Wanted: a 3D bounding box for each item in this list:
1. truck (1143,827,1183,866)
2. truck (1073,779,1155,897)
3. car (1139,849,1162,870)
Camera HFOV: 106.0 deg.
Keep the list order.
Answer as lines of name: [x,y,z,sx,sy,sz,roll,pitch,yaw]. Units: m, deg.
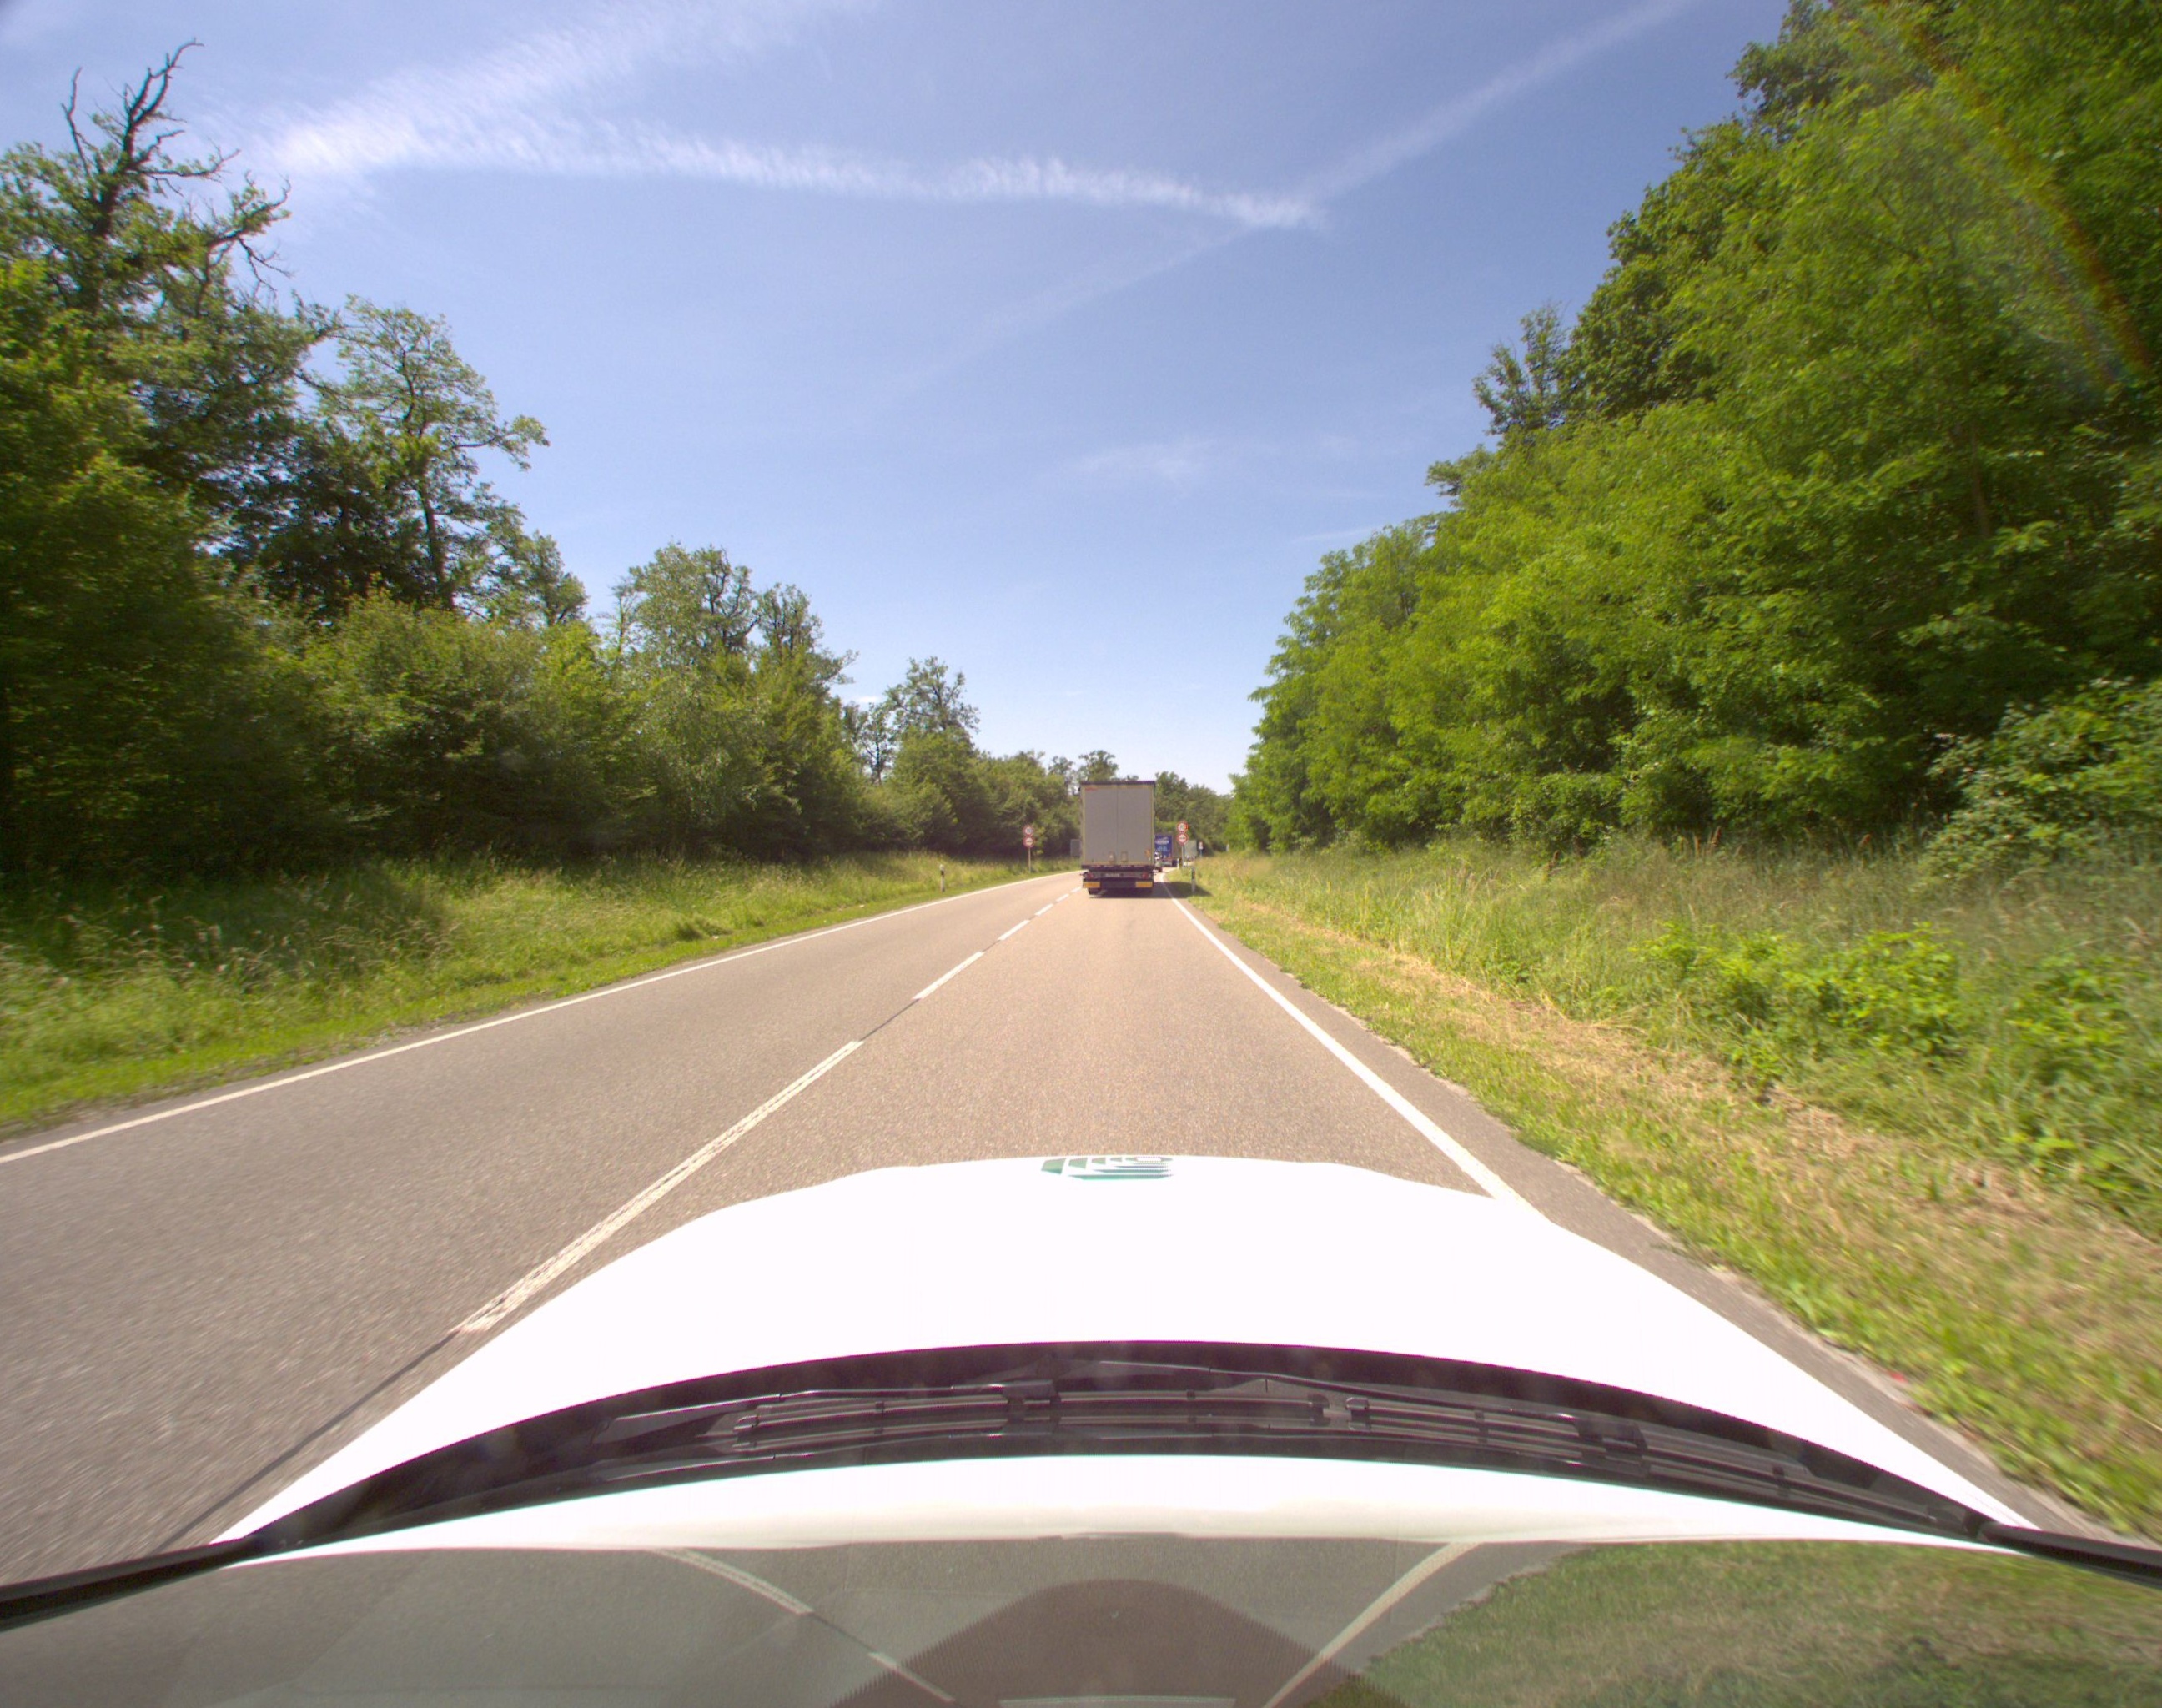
truck: [10.384,-0.894,101.597,3.770,4.373,14.962,-1,0,10]
truck: [1.569,-0.576,33.598,2.749,3.947,12.211,0,0,4]
car: [5.959,0.464,69.513,1.760,1.708,4.008,-1,0,7]
